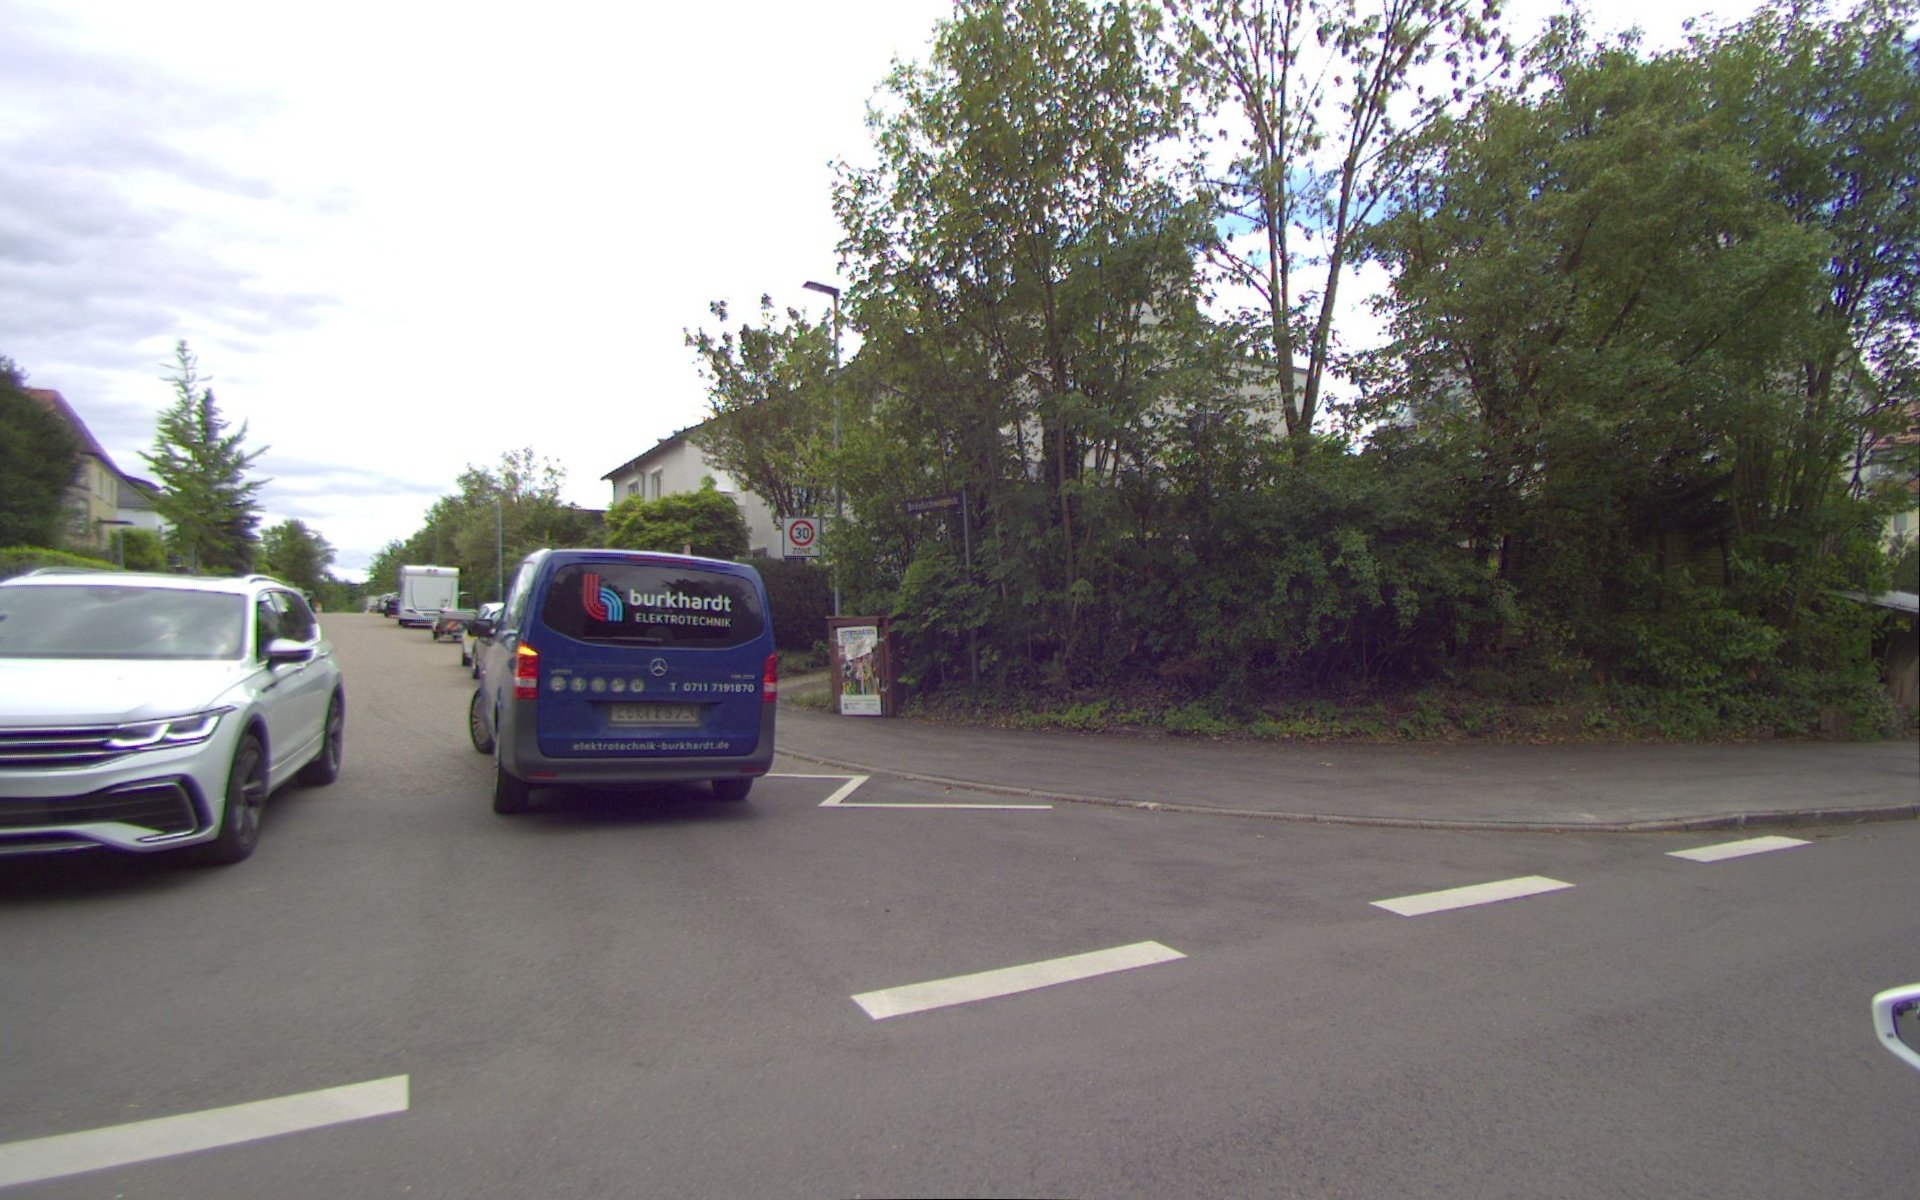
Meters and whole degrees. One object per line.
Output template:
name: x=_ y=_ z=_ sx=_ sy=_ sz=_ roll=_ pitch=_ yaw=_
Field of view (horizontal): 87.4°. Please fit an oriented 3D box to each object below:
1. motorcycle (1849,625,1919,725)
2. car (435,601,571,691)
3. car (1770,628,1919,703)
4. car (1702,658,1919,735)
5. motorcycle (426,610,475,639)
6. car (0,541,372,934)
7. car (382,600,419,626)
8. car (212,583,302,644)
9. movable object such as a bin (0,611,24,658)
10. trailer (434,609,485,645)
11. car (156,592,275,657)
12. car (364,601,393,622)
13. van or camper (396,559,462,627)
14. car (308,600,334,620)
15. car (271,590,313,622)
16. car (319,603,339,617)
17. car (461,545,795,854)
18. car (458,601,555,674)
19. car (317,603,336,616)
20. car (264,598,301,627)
motorcycle: x=15.616 y=1.199 z=16.224 sx=2.857 sy=1.505 sz=0.807 roll=2 pitch=0 yaw=-26
car: x=-8.381 y=0.778 z=18.292 sx=1.655 sy=1.431 sz=3.517 roll=2 pitch=0 yaw=-35
car: x=20.686 y=1.442 z=21.801 sx=1.852 sy=1.460 sz=4.469 roll=2 pitch=0 yaw=-24
car: x=17.696 y=1.904 z=20.294 sx=1.627 sy=1.405 sz=4.038 roll=1 pitch=-4 yaw=-26
motorcycle: x=-18.516 y=0.892 z=36.510 sx=2.008 sy=0.977 sz=0.717 roll=1 pitch=-1 yaw=36
car: x=-5.317 y=0.583 z=6.497 sx=2.009 sy=1.692 sz=4.922 roll=2 pitch=-1 yaw=-24
car: x=-33.212 y=0.770 z=59.587 sx=1.516 sy=1.431 sz=3.516 roll=2 pitch=0 yaw=-35
car: x=-22.662 y=0.426 z=32.515 sx=1.977 sy=1.817 sz=3.968 roll=2 pitch=-1 yaw=-30
movable object such as a bin: x=-21.086 y=0.762 z=22.082 sx=0.569 sy=1.015 sz=0.581 roll=2 pitch=0 yaw=-25
trailer: x=-17.001 y=0.895 z=34.128 sx=1.461 sy=1.111 sz=3.360 roll=2 pitch=-1 yaw=-27
car: x=-19.218 y=0.605 z=26.104 sx=1.740 sy=1.549 sz=3.942 roll=1 pitch=0 yaw=-26
car: x=-42.473 y=0.847 z=73.313 sx=1.516 sy=1.431 sz=3.516 roll=2 pitch=0 yaw=-35
van or camper: x=-24.663 y=-0.300 z=46.503 sx=2.280 sy=2.883 sz=7.557 roll=1 pitch=0 yaw=-31
car: x=-49.753 y=0.768 z=78.166 sx=1.516 sy=1.431 sz=3.516 roll=2 pitch=0 yaw=-35
car: x=-31.303 y=0.269 z=47.065 sx=1.516 sy=1.431 sz=3.516 roll=2 pitch=0 yaw=-35
car: x=-66.077 y=1.014 z=105.183 sx=1.516 sy=1.431 sz=3.516 roll=2 pitch=0 yaw=-35
car: x=-3.109 y=0.626 z=8.647 sx=1.919 sy=1.905 sz=4.496 roll=1 pitch=0 yaw=-29
car: x=-10.080 y=0.778 z=22.193 sx=1.513 sy=1.431 sz=3.764 roll=1 pitch=0 yaw=-31
car: x=-68.661 y=1.022 z=108.817 sx=1.516 sy=1.431 sz=3.516 roll=2 pitch=0 yaw=-35
car: x=-36.205 y=0.658 z=53.648 sx=1.516 sy=1.431 sz=3.516 roll=2 pitch=0 yaw=-35
